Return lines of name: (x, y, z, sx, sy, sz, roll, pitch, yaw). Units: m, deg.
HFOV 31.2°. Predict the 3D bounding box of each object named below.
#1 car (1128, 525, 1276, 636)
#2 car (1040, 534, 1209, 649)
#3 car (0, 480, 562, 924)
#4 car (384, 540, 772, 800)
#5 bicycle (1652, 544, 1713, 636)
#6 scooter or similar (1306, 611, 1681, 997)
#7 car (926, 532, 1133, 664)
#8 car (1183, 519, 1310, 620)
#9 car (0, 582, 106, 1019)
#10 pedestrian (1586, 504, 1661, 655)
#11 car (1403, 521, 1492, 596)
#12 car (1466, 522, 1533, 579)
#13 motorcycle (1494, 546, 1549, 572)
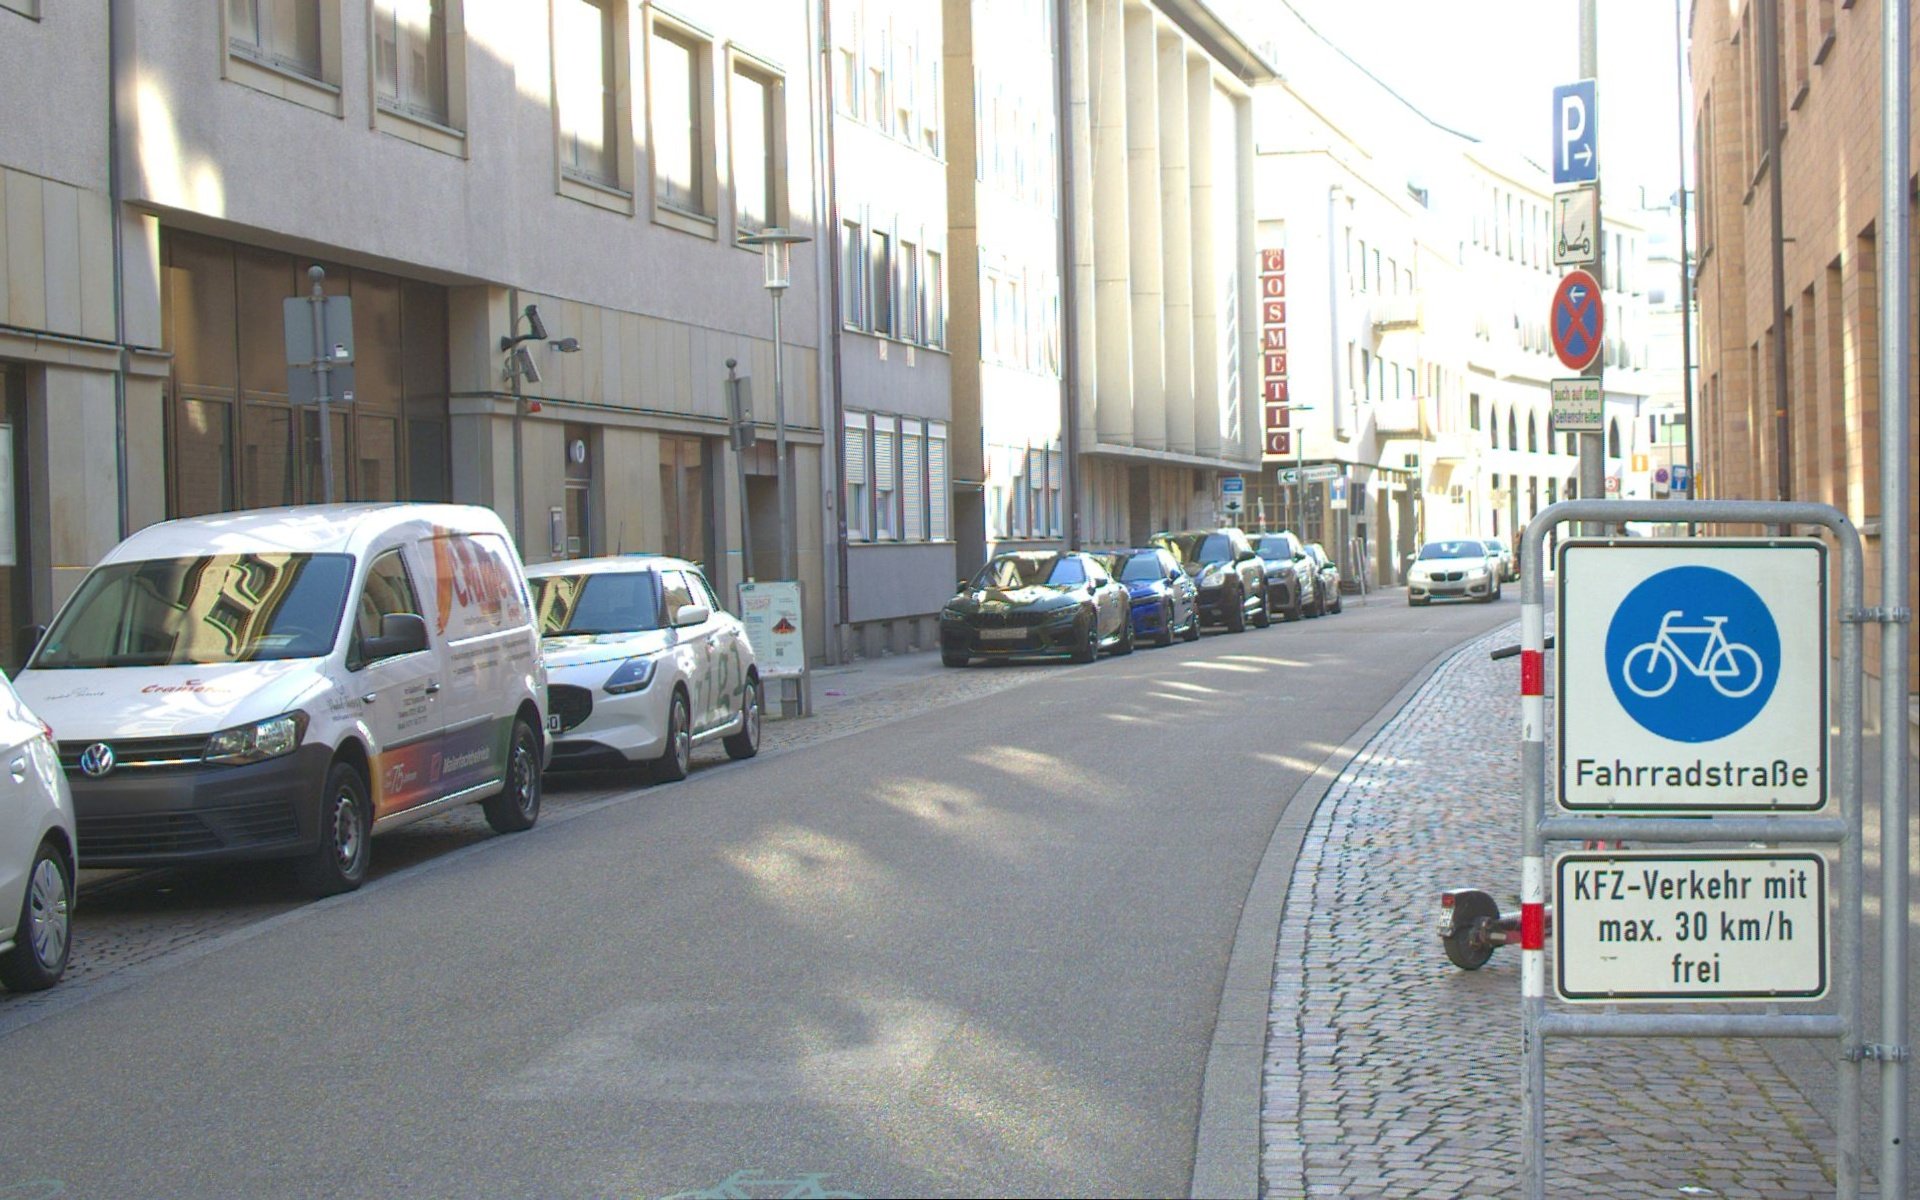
car: (3.979, -0.348, 55.788, 1.891, 1.670, 4.552, -2, 1, 10)
car: (2.441, -0.156, 50.061, 1.891, 1.525, 4.338, -2, 1, 10)
car: (-3.546, 0.403, 17.141, 1.900, 1.851, 4.732, -3, 1, 8)
car: (-2.496, 0.408, 23.355, 1.670, 1.517, 3.775, -3, 1, 8)
bicycle: (9.309, -0.142, 44.320, 0.550, 1.099, 1.982, -4, 1, 8)
scooter or similar: (1.896, 0.682, 12.106, 1.415, 1.231, 0.538, -2, 2, -42)
car: (0.954, -0.067, 43.853, 1.891, 1.525, 4.727, -2, 1, 10)
car: (5.303, -0.590, 63.156, 1.891, 1.736, 4.389, -2, 1, 10)
car: (-4.230, 0.754, 11.244, 1.737, 1.487, 3.799, -3, 1, 2)
pedestrian: (7.742, -0.245, 40.128, 0.760, 1.710, 0.821, -3, 1, 10)
car: (10.485, -0.905, 73.804, 1.715, 1.512, 4.158, -2, 1, 10)
car: (15.380, -1.422, 97.842, 1.640, 1.512, 4.158, -2, 1, 12)
motorcycle: (18.673, -1.359, 114.331, 1.692, 0.856, 0.594, 1, 0, 19)
